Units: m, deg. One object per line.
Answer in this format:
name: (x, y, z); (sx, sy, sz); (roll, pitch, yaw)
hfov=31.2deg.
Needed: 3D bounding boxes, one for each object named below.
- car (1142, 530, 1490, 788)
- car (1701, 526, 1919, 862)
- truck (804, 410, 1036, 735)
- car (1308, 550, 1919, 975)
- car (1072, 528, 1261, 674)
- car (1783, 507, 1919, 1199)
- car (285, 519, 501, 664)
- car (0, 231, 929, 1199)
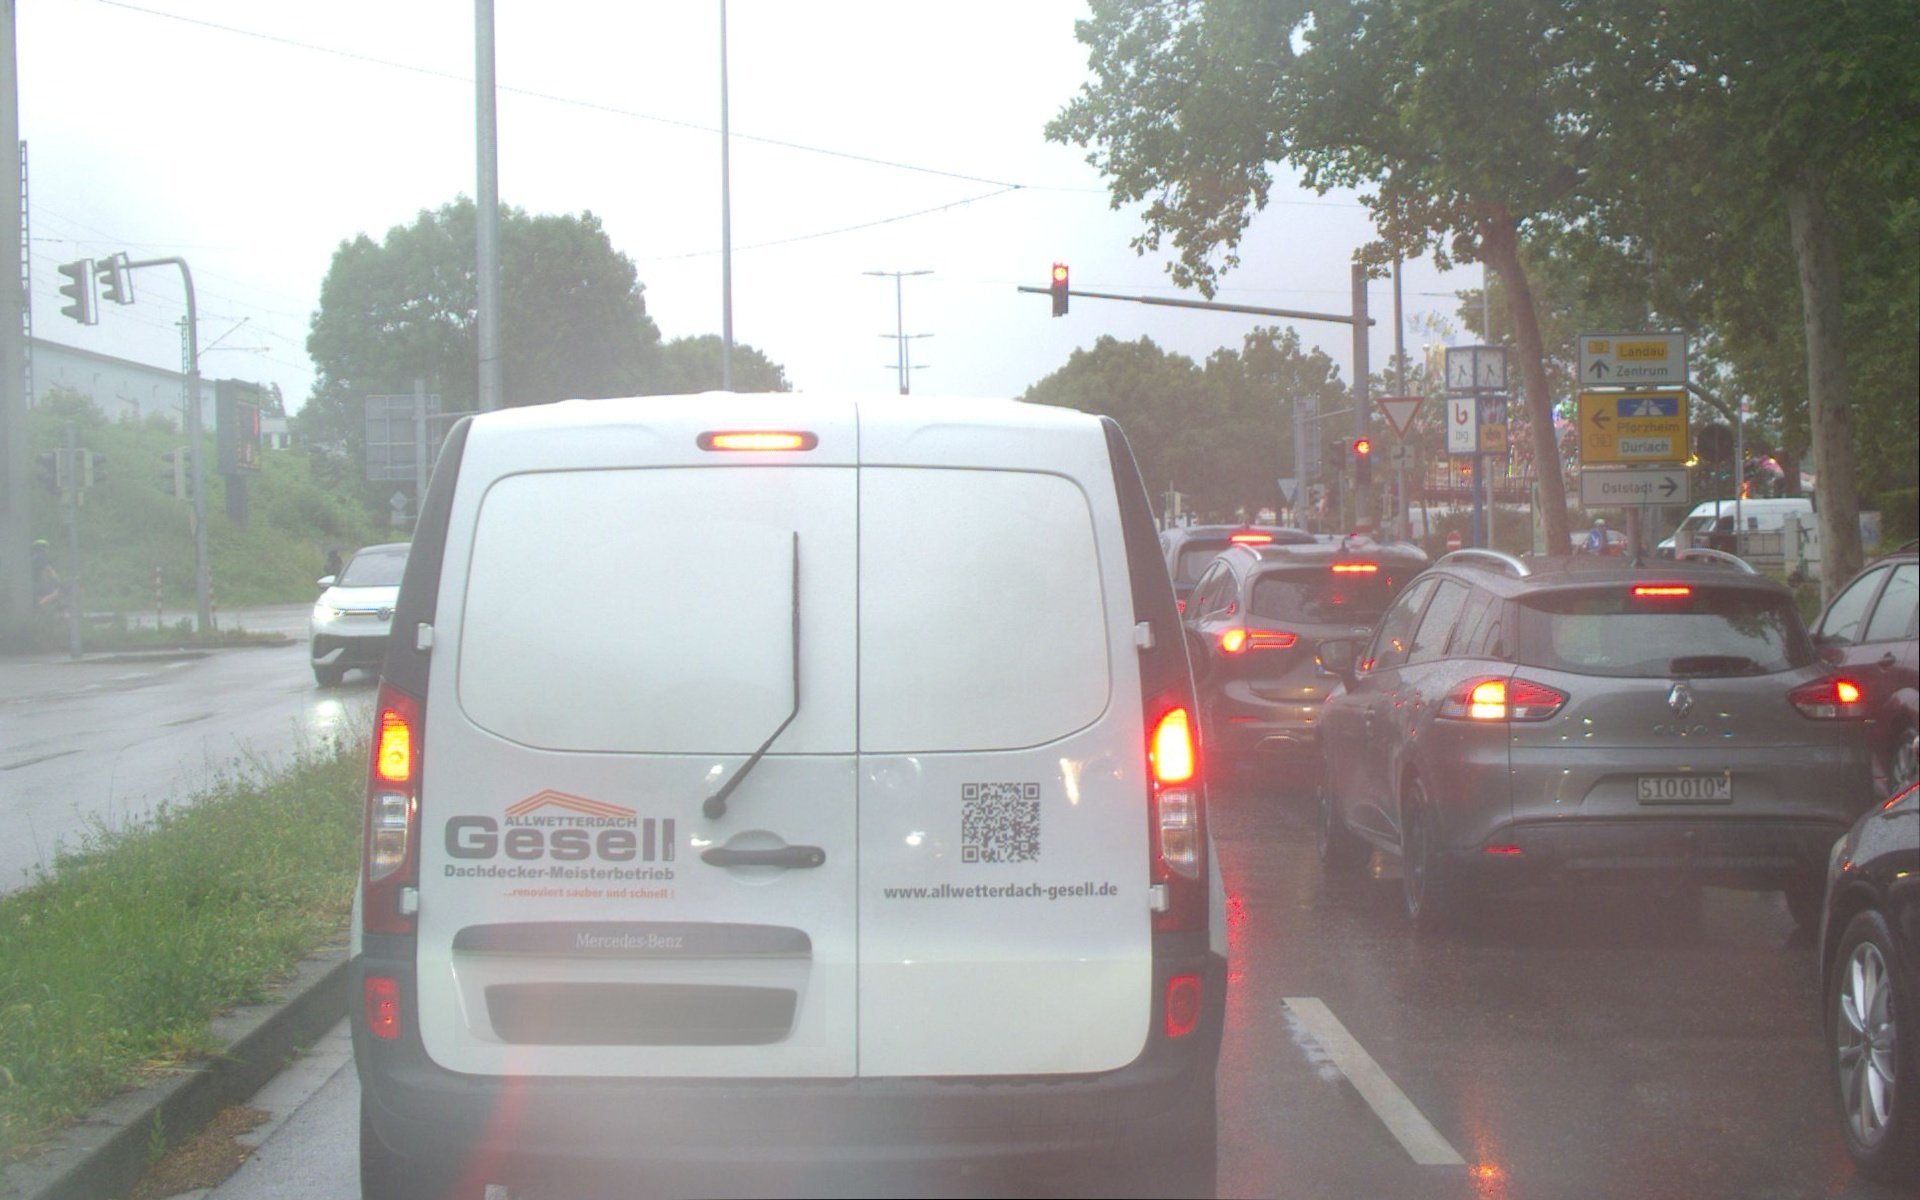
car: (2.133, 0.296, 21.573); (1.711, 1.440, 4.000); (0, 1, -1)
car: (5.236, 0.412, 17.673); (1.839, 1.531, 4.112); (0, 1, -2)
truck: (-0.383, -0.229, 28.065); (1.756, 2.458, 4.000); (0, 1, -2)
car: (2.509, 0.540, 14.030); (1.711, 1.440, 4.000); (0, 1, -1)
car: (2.144, -0.030, 36.606); (1.711, 1.440, 4.000); (0, 1, -1)
car: (2.956, 0.607, 6.451); (1.708, 1.544, 4.001); (0, 2, -2)
car: (-6.647, -0.148, 40.728); (1.962, 1.520, 4.335); (-2, 2, -2)
car: (-1.137, 0.311, 8.252); (1.993, 2.007, 4.000); (0, 1, -2)
